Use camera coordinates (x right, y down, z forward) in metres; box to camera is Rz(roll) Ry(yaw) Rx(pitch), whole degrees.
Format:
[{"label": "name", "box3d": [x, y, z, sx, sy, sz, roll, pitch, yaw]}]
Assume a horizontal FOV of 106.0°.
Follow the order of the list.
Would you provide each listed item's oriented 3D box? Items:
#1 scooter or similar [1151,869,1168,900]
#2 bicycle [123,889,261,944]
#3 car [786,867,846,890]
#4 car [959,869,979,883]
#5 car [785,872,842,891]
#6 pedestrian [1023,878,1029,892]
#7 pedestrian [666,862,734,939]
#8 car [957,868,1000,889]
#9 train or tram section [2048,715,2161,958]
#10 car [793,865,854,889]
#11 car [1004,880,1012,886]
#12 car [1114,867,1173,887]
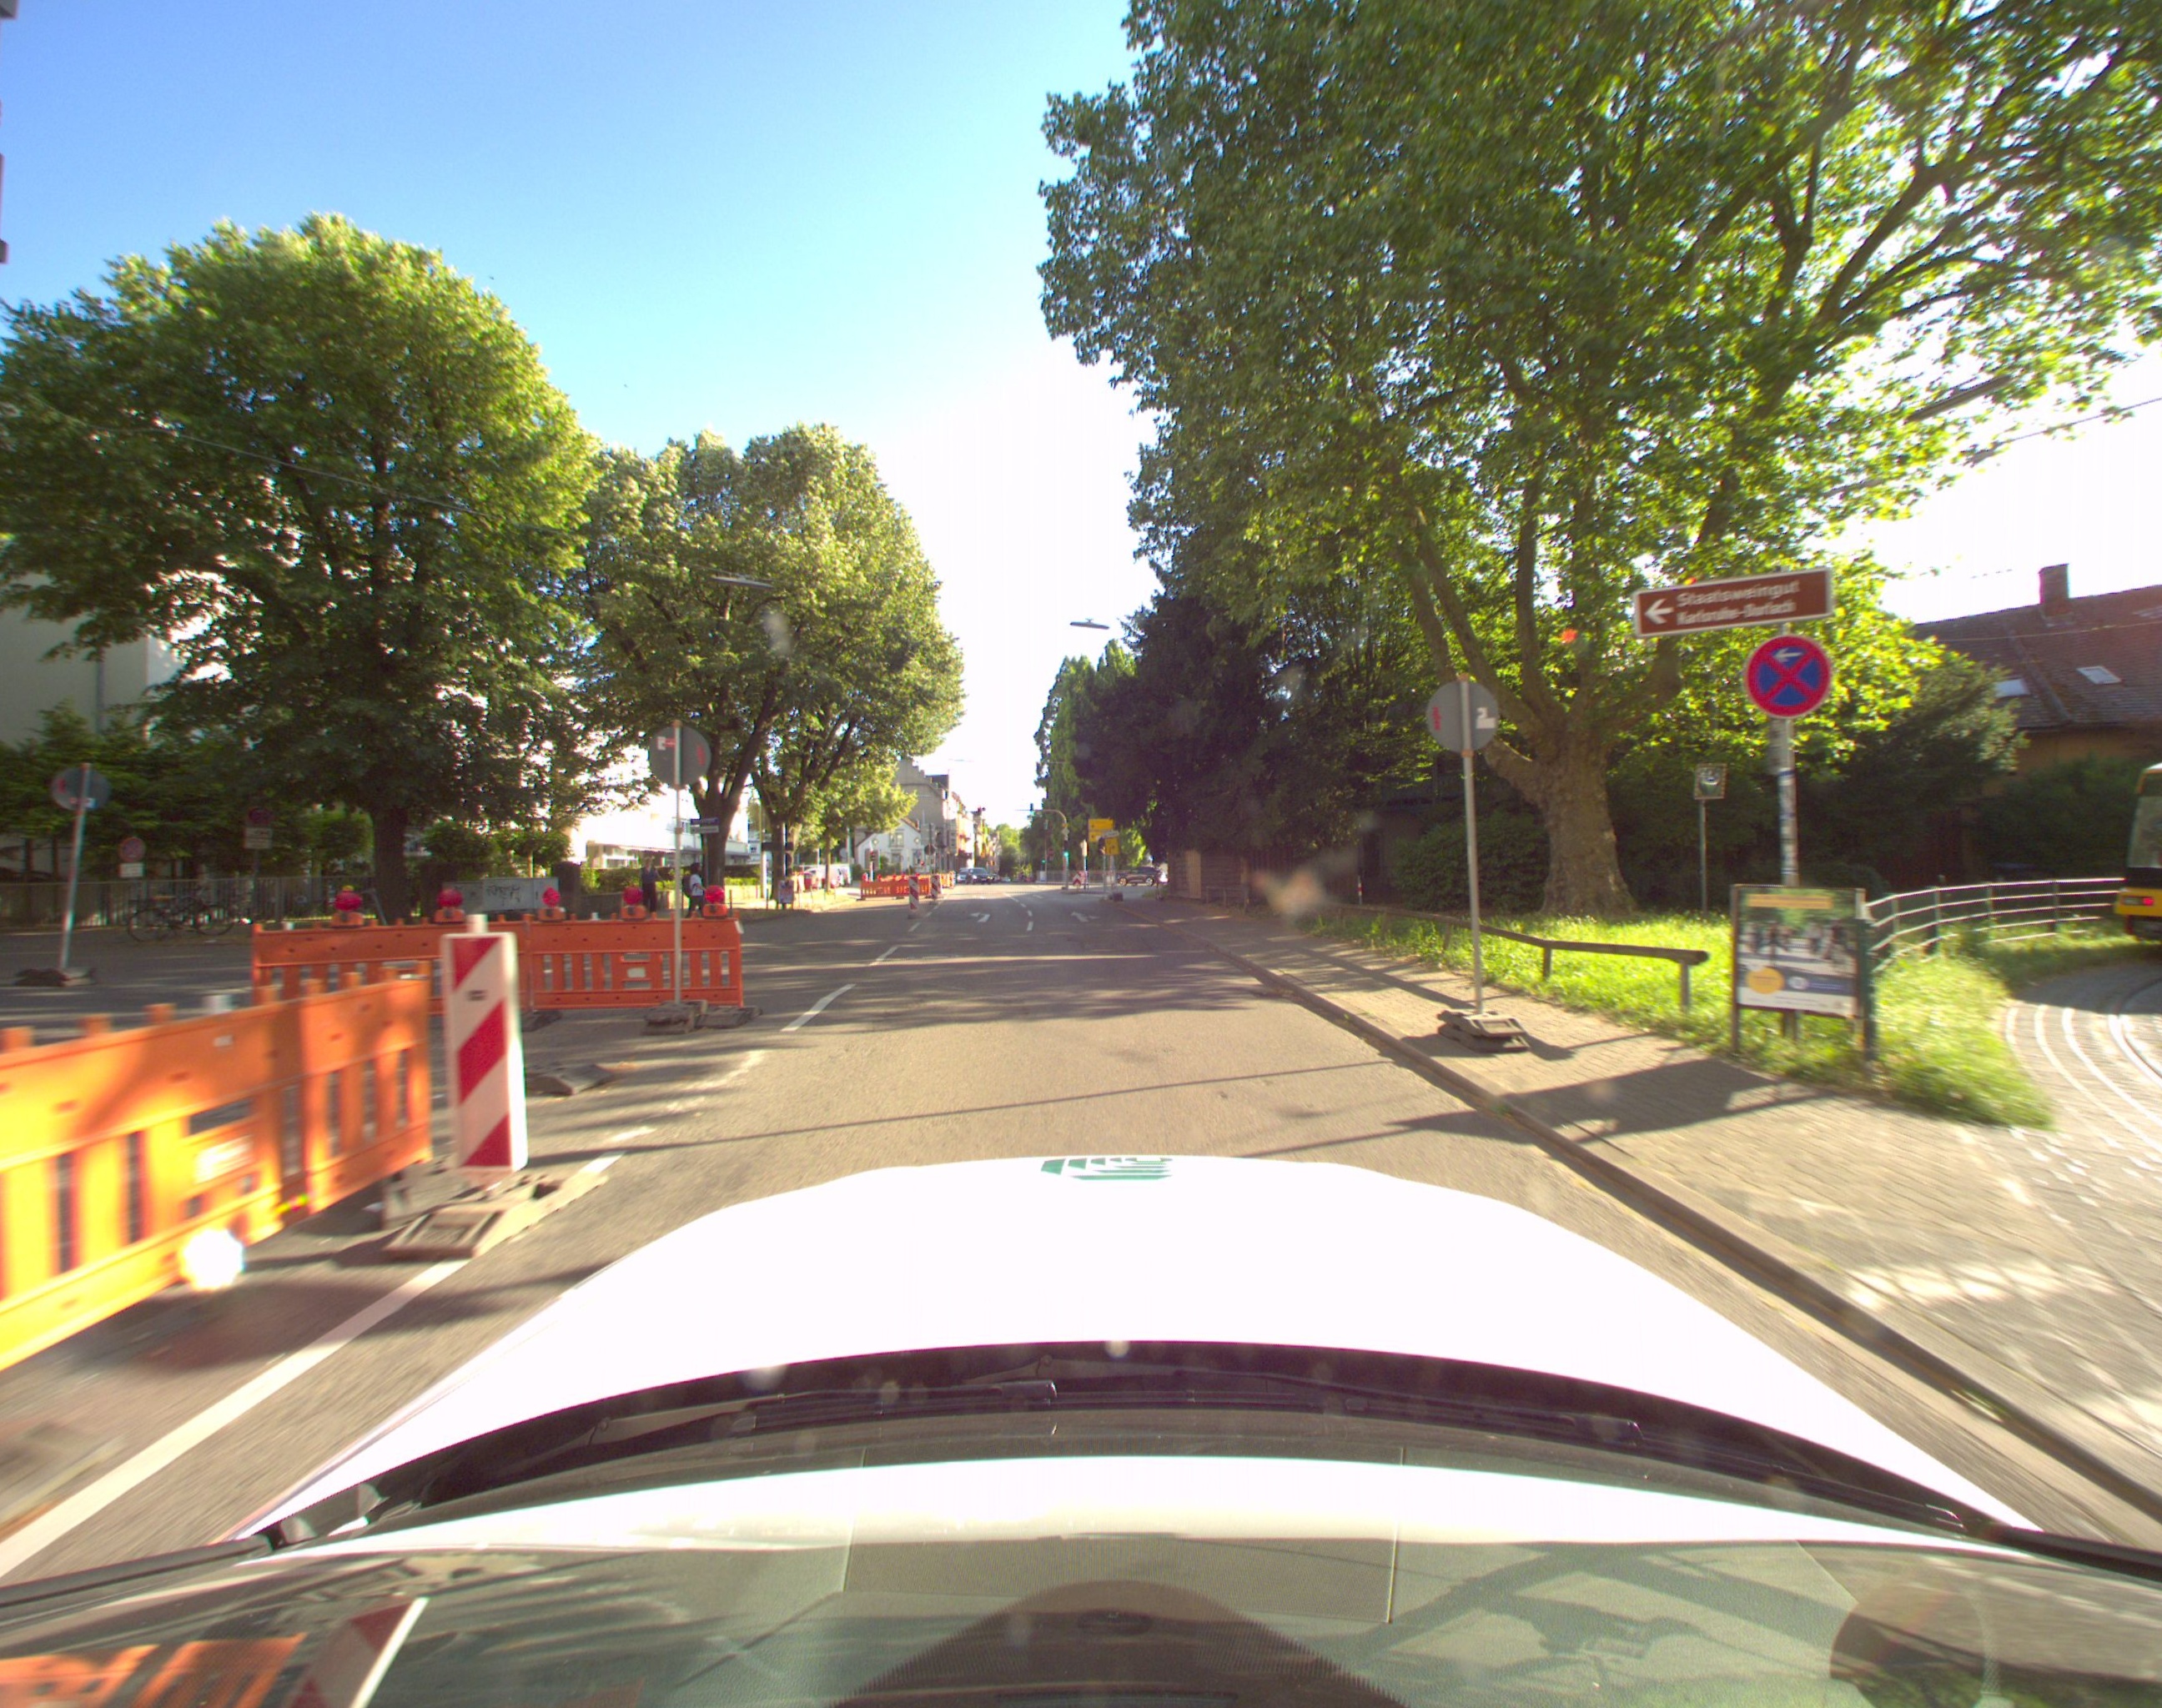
[{"label": "scooter or similar", "box3d": [3.178, 1.223, 33.134, 0.437, 1.202, 1.257, -3, -1, -3]}, {"label": "bicycle", "box3d": [-19.270, 1.317, 17.722, 0.742, 1.077, 1.936, 0, -1, 6]}, {"label": "car", "box3d": [-21.524, 1.995, 66.282, 4.305, 1.852, 1.997, 1, -1, -4]}, {"label": "car", "box3d": [-13.135, 2.556, 95.278, 1.778, 1.543, 3.979, 1, -1, -15]}, {"label": "car", "box3d": [-20.929, 2.151, 63.852, 3.992, 1.479, 1.992, 0, -1, -11]}, {"label": "pedestrian", "box3d": [-6.463, 3.638, 95.765, 0.601, 1.693, 0.611, -1, -1, -4]}, {"label": "pedestrian", "box3d": [-9.091, 1.097, 19.490, 1.039, 1.781, 1.192, -1, -1, 1]}, {"label": "car", "box3d": [-9.876, 2.285, 77.986, 2.011, 1.815, 4.200, -3, 1, -42]}, {"label": "train or tram section", "box3d": [20.222, -0.214, 11.942, 9.216, 3.520, 2.795, 1, -1, -3]}, {"label": "car", "box3d": [-21.800, 1.911, 69.103, 4.665, 1.965, 2.111, 1, -1, -9]}, {"label": "car", "box3d": [-20.999, 8.342, 233.592, 1.989, 1.492, 4.465, -1, -1, -3]}, {"label": "car", "box3d": [5.321, 1.977, 69.457, 4.603, 1.671, 2.012, -2, -5, 38]}]
